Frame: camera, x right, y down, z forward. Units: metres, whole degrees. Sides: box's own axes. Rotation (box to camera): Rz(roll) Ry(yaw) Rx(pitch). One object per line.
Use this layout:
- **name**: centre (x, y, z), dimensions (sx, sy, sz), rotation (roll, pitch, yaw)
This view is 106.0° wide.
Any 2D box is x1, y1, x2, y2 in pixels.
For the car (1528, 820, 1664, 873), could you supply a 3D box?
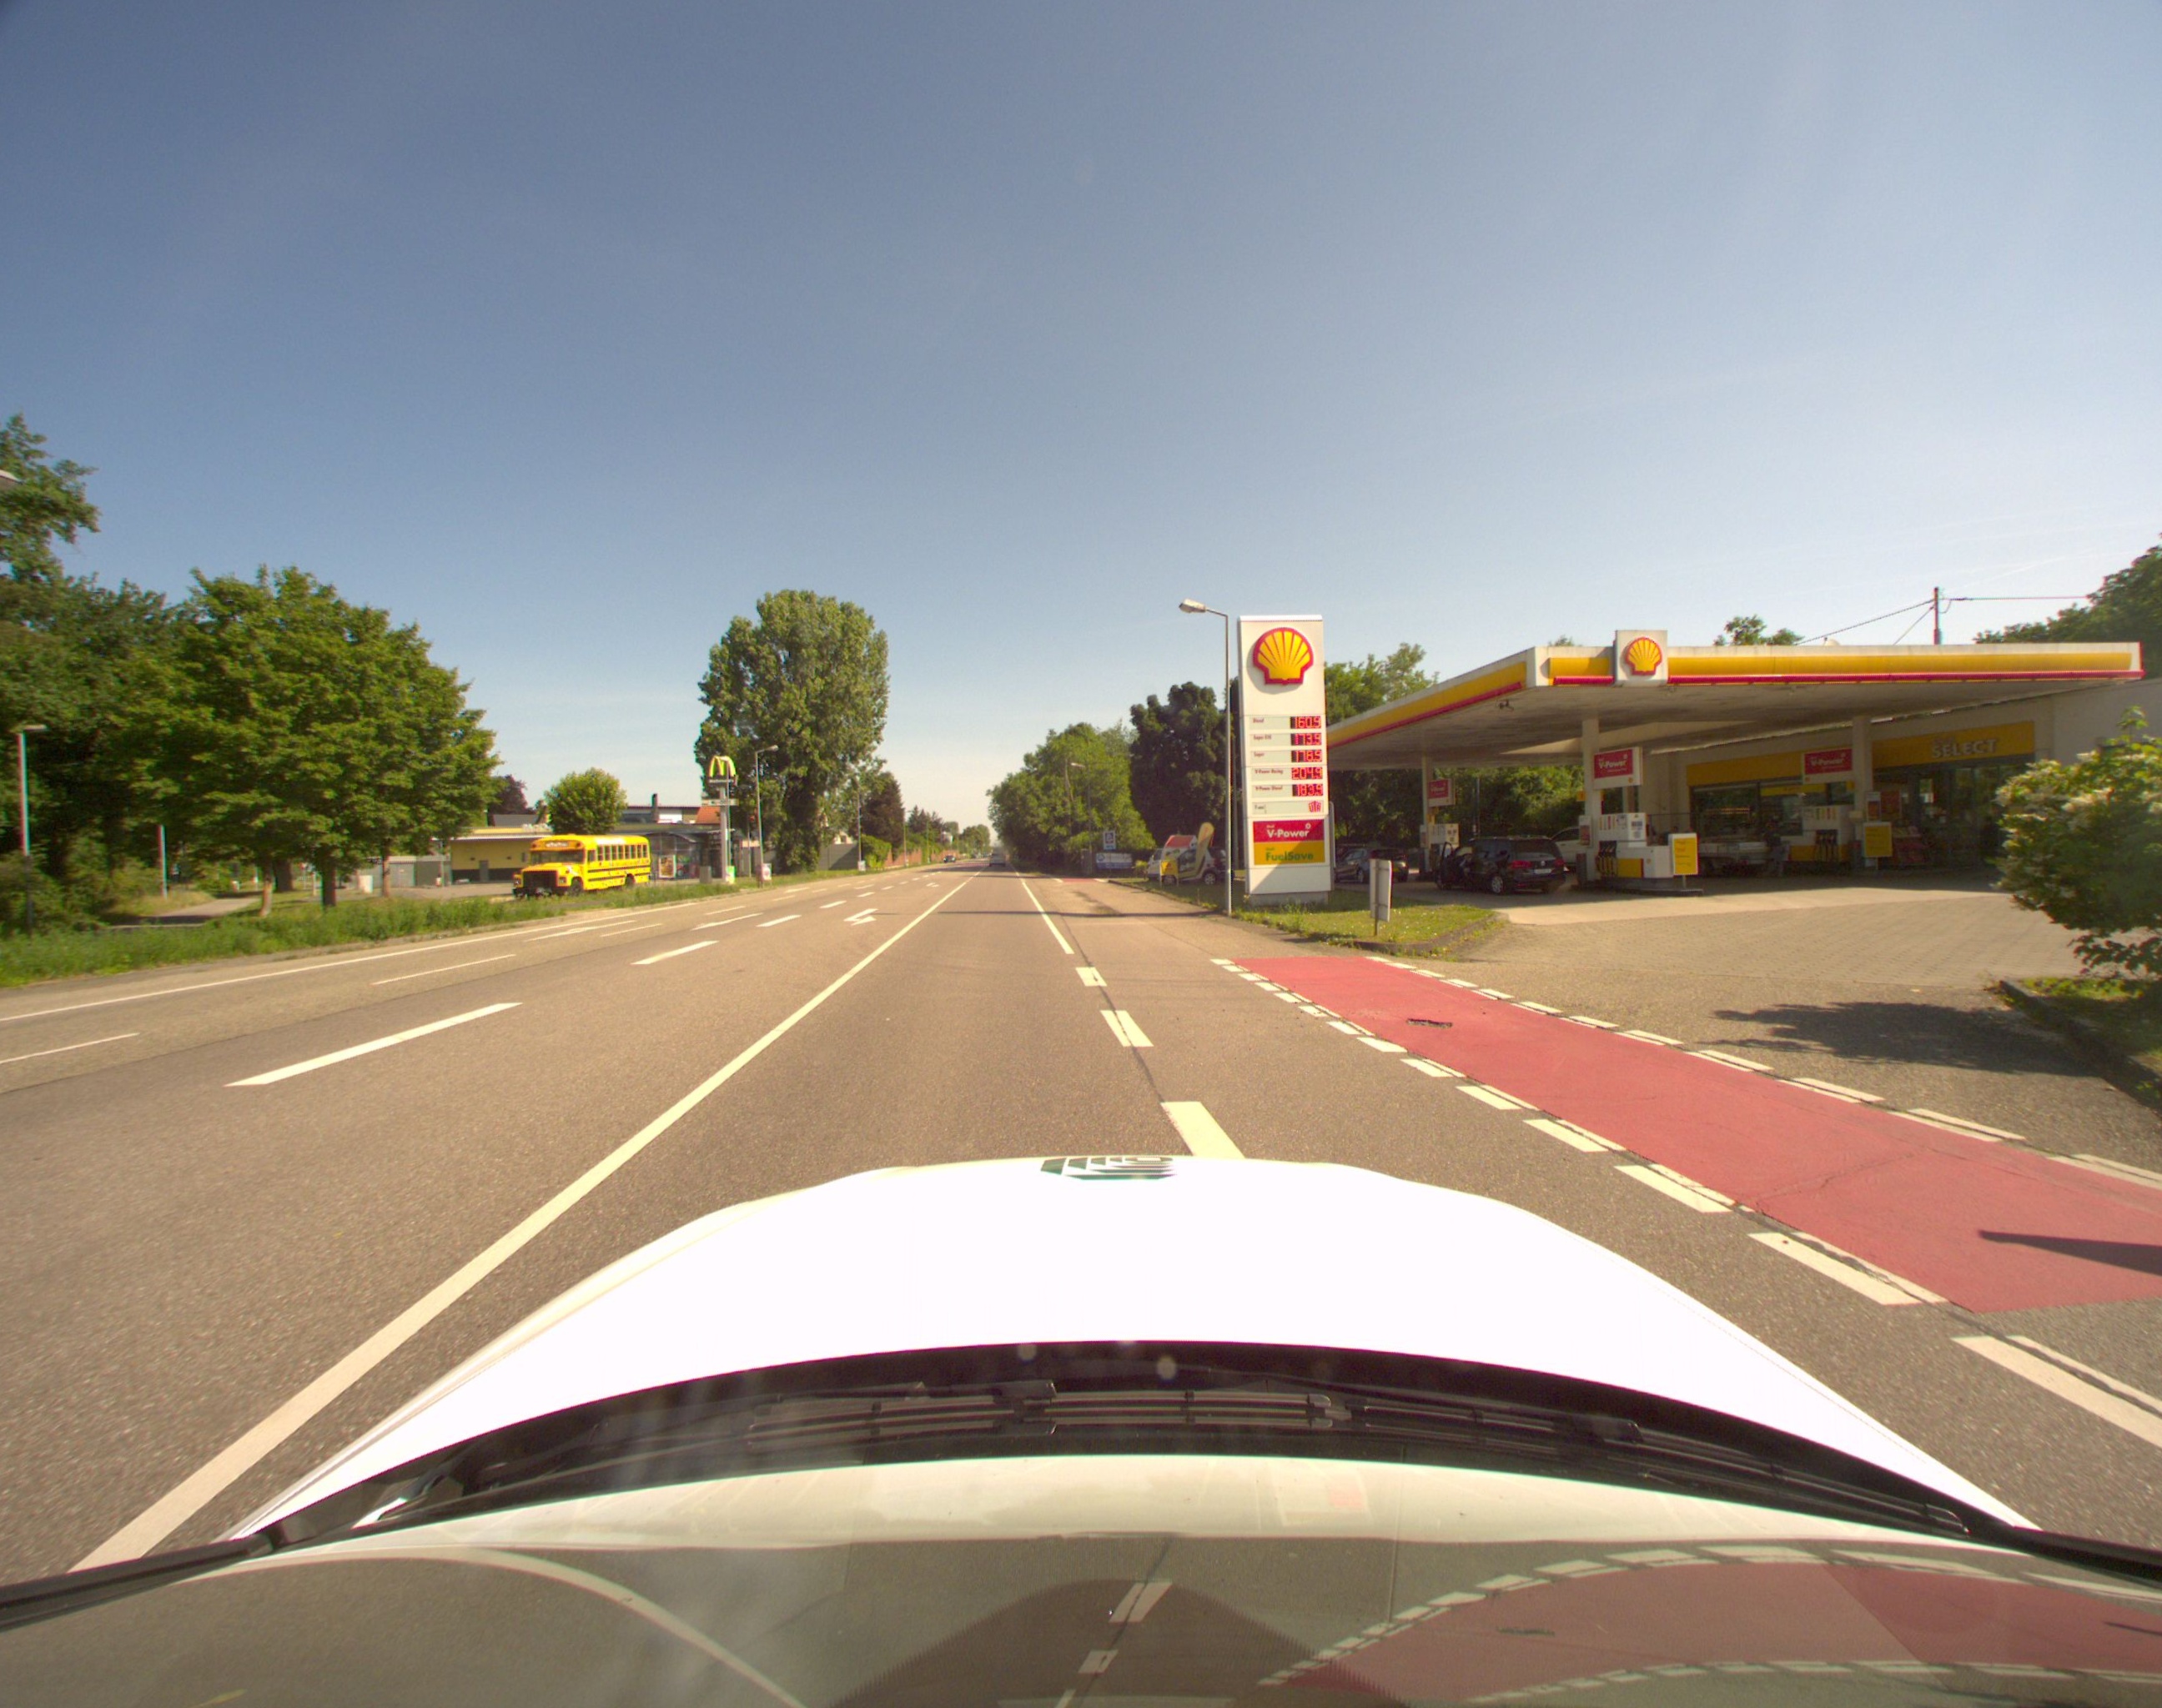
- **car**: centre (19.801, -0.261, 31.619), dimensions (1.849, 1.837, 4.769), rotation (-2, 0, -7)

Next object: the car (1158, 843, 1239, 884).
- **car**: centre (4.573, 0.399, 31.825), dimensions (2.696, 1.530, 1.588), rotation (-2, -2, 39)

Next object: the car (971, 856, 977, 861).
- **car**: centre (-33.951, 1.424, 257.970), dimensions (1.844, 1.541, 4.217), rotation (0, 0, -5)

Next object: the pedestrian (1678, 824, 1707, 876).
- **pedestrian**: centre (19.197, -0.119, 25.572), dimensions (0.498, 1.593, 0.475), rotation (-2, 0, -2)

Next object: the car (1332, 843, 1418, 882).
- **car**: centre (11.317, 0.319, 31.601), dimensions (1.793, 1.360, 3.845), rotation (-2, 0, -2)

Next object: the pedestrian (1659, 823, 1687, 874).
- **pedestrian**: centre (19.265, -0.167, 26.502), dimensions (0.498, 1.631, 0.475), rotation (-2, 0, -2)

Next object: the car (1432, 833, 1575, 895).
- **car**: centre (12.042, 0.265, 23.502), dimensions (1.758, 1.578, 3.868), rotation (-2, 0, -7)

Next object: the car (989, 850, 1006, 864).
- **car**: centre (-9.503, 0.332, 92.860), dimensions (1.844, 1.541, 4.217), rotation (0, 0, -5)

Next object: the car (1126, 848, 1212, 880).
- **car**: centre (4.372, 0.481, 40.523), dimensions (3.991, 1.530, 1.579), rotation (0, -1, -13)

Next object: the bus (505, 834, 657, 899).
- **bus**: centre (-23.049, 0.555, 38.256), dimensions (2.577, 2.679, 8.974), rotation (0, 0, -7)

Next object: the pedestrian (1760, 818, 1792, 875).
- **pedestrian**: centre (20.658, -0.215, 24.194), dimensions (0.473, 1.668, 0.500), rotation (-2, 0, -4)

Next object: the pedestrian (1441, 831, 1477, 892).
- **pedestrian**: centre (11.127, 0.219, 24.001), dimensions (0.669, 1.729, 0.813), rotation (-2, 0, 4)

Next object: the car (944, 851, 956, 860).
- **car**: centre (-24.226, 0.324, 150.695), dimensions (1.844, 1.496, 4.902), rotation (-4, 0, -5)

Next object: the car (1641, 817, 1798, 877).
- **car**: centre (20.350, -0.198, 26.209), dimensions (1.822, 1.728, 3.997), rotation (-2, 0, -2)
